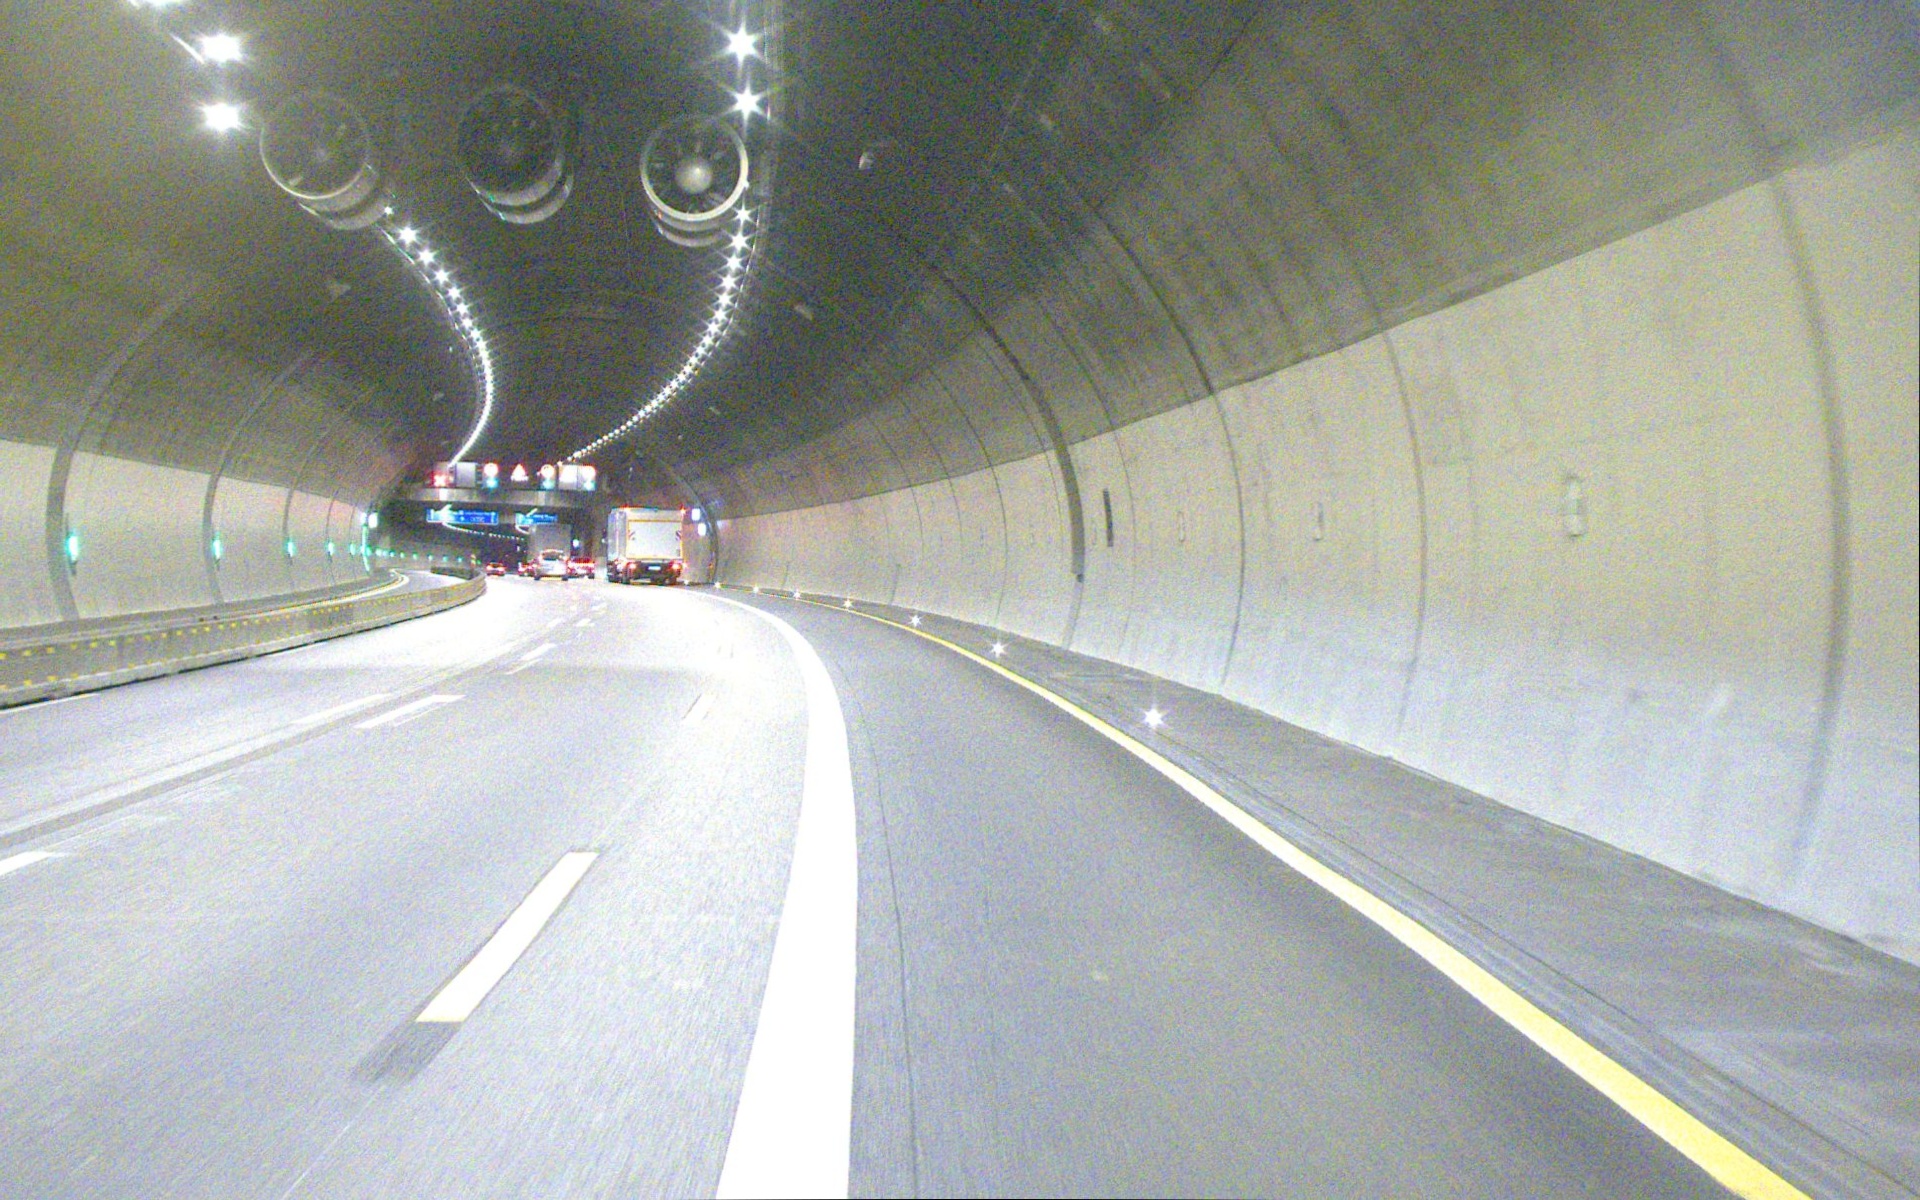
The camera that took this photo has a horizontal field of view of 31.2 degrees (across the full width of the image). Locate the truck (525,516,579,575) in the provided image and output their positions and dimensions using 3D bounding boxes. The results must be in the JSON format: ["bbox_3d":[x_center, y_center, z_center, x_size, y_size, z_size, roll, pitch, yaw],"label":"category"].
[{"bbox_3d":[-30.514,-4.067,256.684,3.473,4.301,10.955,-1,1,-9],"label":"truck"}]

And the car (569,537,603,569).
[{"bbox_3d":[-23.620,-2.986,216.973,1.993,2.007,4.001,0,1,-8],"label":"car"}]

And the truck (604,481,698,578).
[{"bbox_3d":[-14.322,-3.234,158.499,3.473,4.301,10.955,0,1,-10],"label":"truck"}]

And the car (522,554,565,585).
[{"bbox_3d":[-21.933,-1.596,181.020,1.993,1.576,4.001,1,1,-10],"label":"car"}]
